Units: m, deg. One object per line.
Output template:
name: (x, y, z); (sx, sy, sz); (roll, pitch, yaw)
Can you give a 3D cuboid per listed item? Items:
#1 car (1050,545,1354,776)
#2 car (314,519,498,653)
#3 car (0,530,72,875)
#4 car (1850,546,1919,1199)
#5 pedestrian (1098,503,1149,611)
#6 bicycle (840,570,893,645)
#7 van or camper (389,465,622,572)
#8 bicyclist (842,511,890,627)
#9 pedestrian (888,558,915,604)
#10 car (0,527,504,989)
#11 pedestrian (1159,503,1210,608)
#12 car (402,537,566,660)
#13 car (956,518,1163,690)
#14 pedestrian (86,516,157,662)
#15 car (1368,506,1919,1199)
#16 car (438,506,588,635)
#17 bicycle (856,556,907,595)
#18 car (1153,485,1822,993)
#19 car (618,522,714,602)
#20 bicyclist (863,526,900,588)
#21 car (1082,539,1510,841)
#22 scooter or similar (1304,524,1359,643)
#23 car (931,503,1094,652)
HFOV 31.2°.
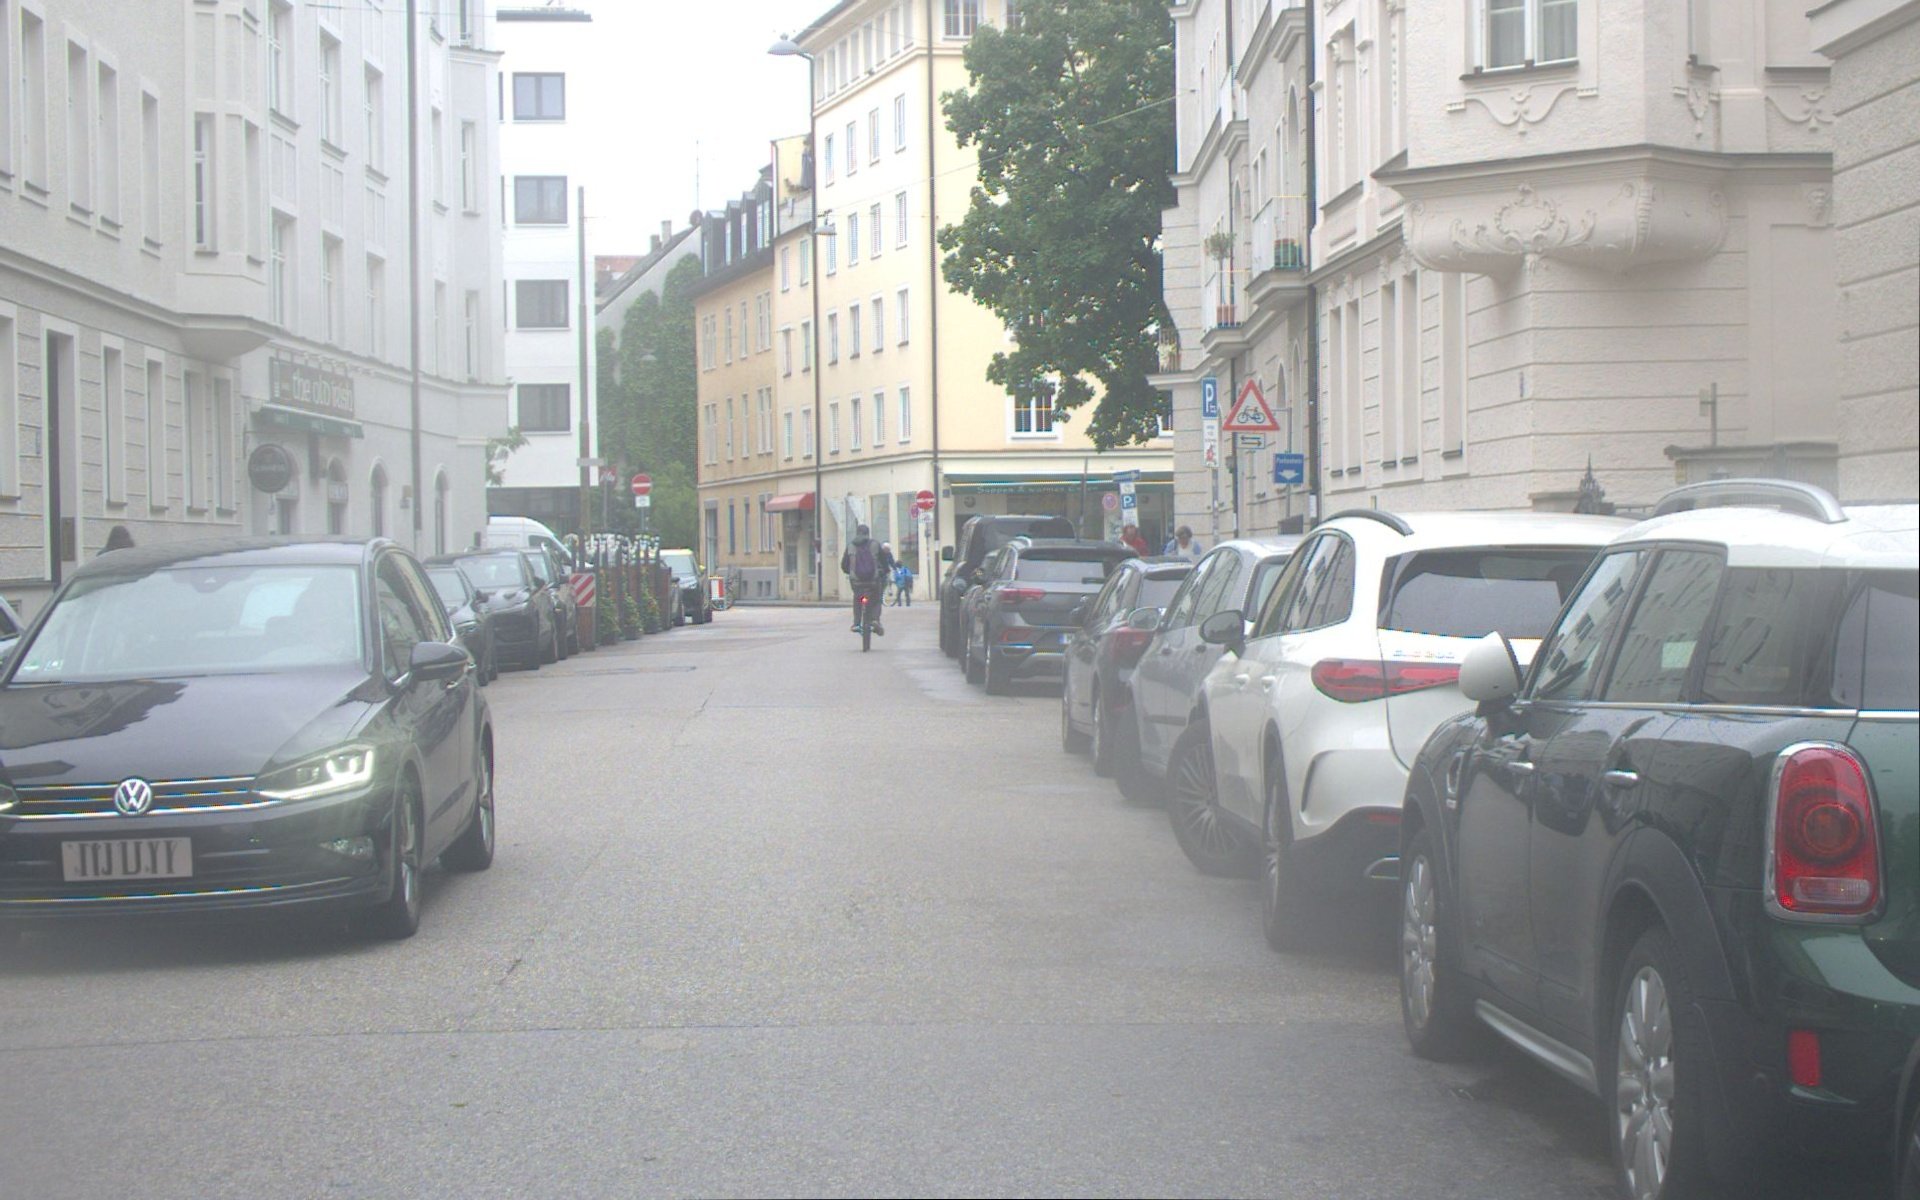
car: (1.589, 0.356, 23.828); (1.612, 1.390, 4.001); (1, 2, -3)
car: (-6.394, -0.212, 40.059); (1.810, 1.380, 4.445); (-2, 2, -6)
car: (-5.319, 0.554, 15.361); (1.696, 1.575, 4.062); (-3, 2, -2)
car: (2.499, 0.715, 3.903); (1.711, 1.447, 4.225); (0, 2, -2)
pedestrian: (2.664, -0.708, 55.899); (0.703, 1.722, 0.703); (-2, 2, -4)
bicycle: (-1.302, 0.099, 48.132); (0.639, 1.001, 1.574); (-1, 1, 2)
van or camper: (-11.870, -2.122, 89.712); (5.903, 2.668, 1.873); (-1, 0, -10)
bicyclist: (-1.317, -0.438, 48.172); (0.606, 1.601, 0.757); (-1, 2, 2)
pedestrian: (-1.638, -0.545, 96.592); (0.699, 1.266, 0.651); (-1, 2, 3)
car: (-2.969, 0.517, 14.049); (1.724, 1.528, 4.086); (-3, 2, -2)
pedestrian: (3.683, -0.735, 56.474); (0.679, 1.668, 0.654); (-3, 2, -4)
car: (-6.216, -0.058, 45.257); (1.741, 1.481, 4.182); (-1, 2, -3)
car: (0.952, -0.011, 34.972); (1.707, 1.582, 4.001); (1, 2, -4)
pedestrian: (-9.938, -0.135, 40.746); (0.697, 1.701, 0.665); (0, 2, -4)
car: (2.185, 0.542, 8.376); (1.748, 1.519, 4.171); (0, 2, -2)
car: (-6.428, -0.468, 49.845); (1.746, 1.667, 4.276); (-4, 2, -3)
bicycle: (-2.100, -0.670, 92.206); (0.846, 0.998, 2.170); (-1, 2, -16)
car: (1.888, 0.392, 13.676); (1.895, 1.630, 4.392); (-1, 3, -1)
car: (-6.279, -0.834, 73.783); (1.676, 1.591, 3.945); (-3, 1, 0)
bicyclist: (-2.104, -1.164, 92.203); (0.781, 1.632, 0.976); (-1, 2, -16)
car: (1.783, 0.423, 19.483); (1.708, 1.496, 4.001); (0, 1, -5)
scooter or similar: (4.203, -0.201, 38.936); (0.540, 1.283, 1.503); (-3, 1, 6)
car: (0.659, -0.358, 46.813); (1.911, 1.878, 4.715); (2, 2, -2)
